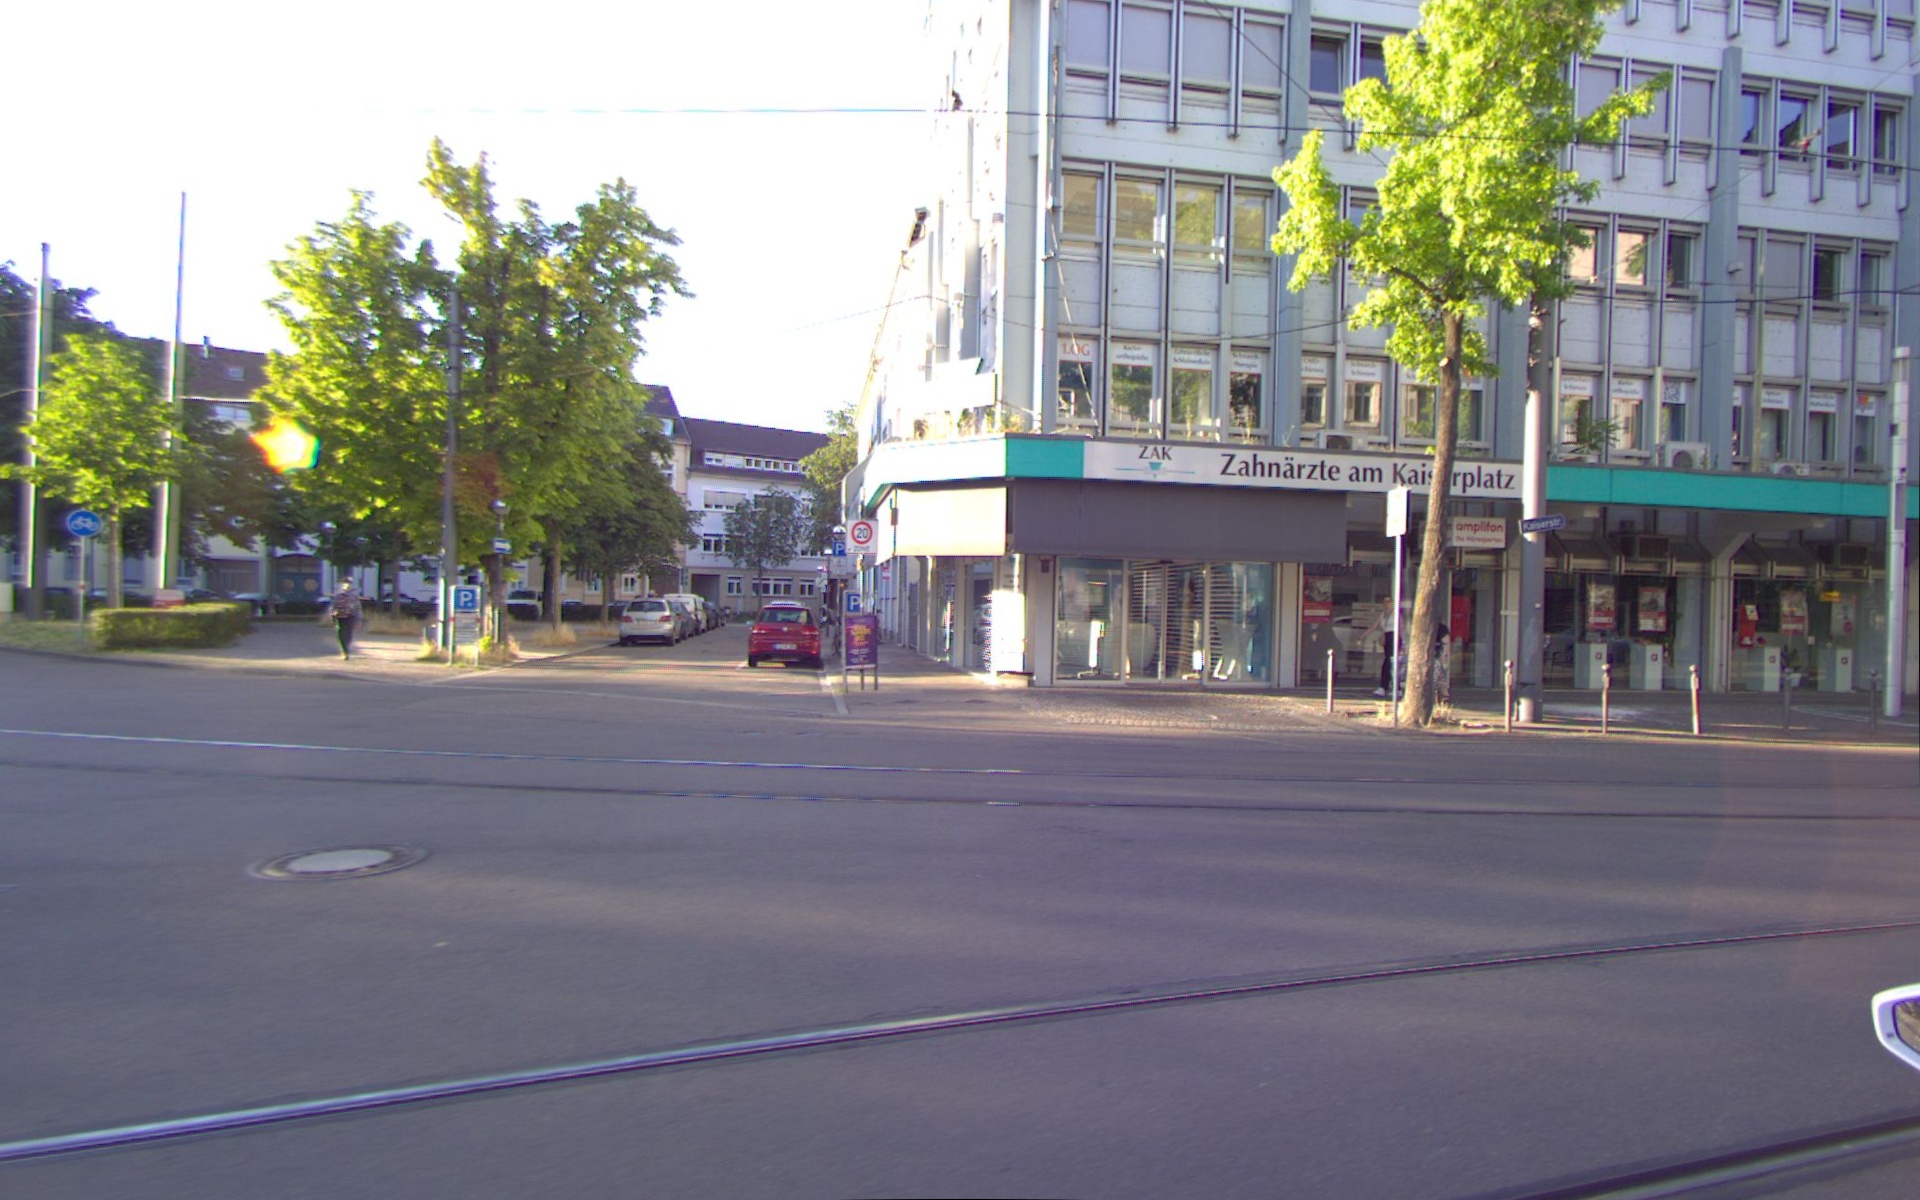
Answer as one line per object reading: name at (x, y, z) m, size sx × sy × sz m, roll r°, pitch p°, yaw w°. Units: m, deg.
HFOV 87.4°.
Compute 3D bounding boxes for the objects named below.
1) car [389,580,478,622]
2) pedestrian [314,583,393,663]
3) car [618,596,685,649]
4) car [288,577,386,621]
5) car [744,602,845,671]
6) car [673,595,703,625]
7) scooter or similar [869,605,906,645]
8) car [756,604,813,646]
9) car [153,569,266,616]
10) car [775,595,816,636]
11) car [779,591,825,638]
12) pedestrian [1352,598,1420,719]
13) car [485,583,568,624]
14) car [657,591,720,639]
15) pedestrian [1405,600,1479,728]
car at (-27.240, 0.054, 52.042) m, size 3.951 × 2.040 × 1.985 m, roll 2°, pitch 0°, yaw -29°
pedestrian at (-13.527, 0.509, 22.413) m, size 1.139 × 1.725 × 0.908 m, roll 2°, pitch -1°, yaw 8°
car at (-10.681, 0.748, 34.980) m, size 1.966 × 1.706 × 3.988 m, roll 2°, pitch 0°, yaw -14°
car at (-30.869, -0.040, 49.934) m, size 3.951 × 2.040 × 1.985 m, roll 2°, pitch 0°, yaw -29°
car at (-4.021, 0.850, 24.989) m, size 1.988 × 1.504 × 3.998 m, roll 2°, pitch 0°, yaw -3°
car at (-19.818, 0.708, 73.246) m, size 1.966 × 2.040 × 3.988 m, roll 2°, pitch 0°, yaw -14°
scooter or similar at (-2.698, 0.908, 37.618) m, size 0.740 × 1.417 × 1.928 m, roll 2°, pitch 1°, yaw 16°
car at (-6.980, 0.960, 40.299) m, size 1.963 × 1.550 × 3.996 m, roll 2°, pitch 0°, yaw -6°
car at (-35.181, -0.323, 47.213) m, size 3.951 × 2.040 × 1.985 m, roll 2°, pitch 0°, yaw -29°
car at (-8.772, 0.780, 53.386) m, size 1.965 × 2.040 × 3.992 m, roll 2°, pitch 0°, yaw -11°
car at (-7.292, 0.649, 46.552) m, size 1.963 × 2.040 × 3.994 m, roll 2°, pitch 0°, yaw -8°
pedestrian at (7.419, 1.000, 17.540) m, size 0.721 × 2.040 × 0.798 m, roll 2°, pitch 0°, yaw -8°
car at (-23.422, 0.198, 54.312) m, size 3.951 × 2.040 × 1.985 m, roll 2°, pitch 0°, yaw -29°
car at (-12.273, 0.665, 45.696) m, size 1.962 × 2.040 × 3.998 m, roll 2°, pitch 0°, yaw -4°
pedestrian at (7.921, 1.033, 16.530) m, size 0.721 × 2.040 × 0.798 m, roll 2°, pitch 0°, yaw -8°
